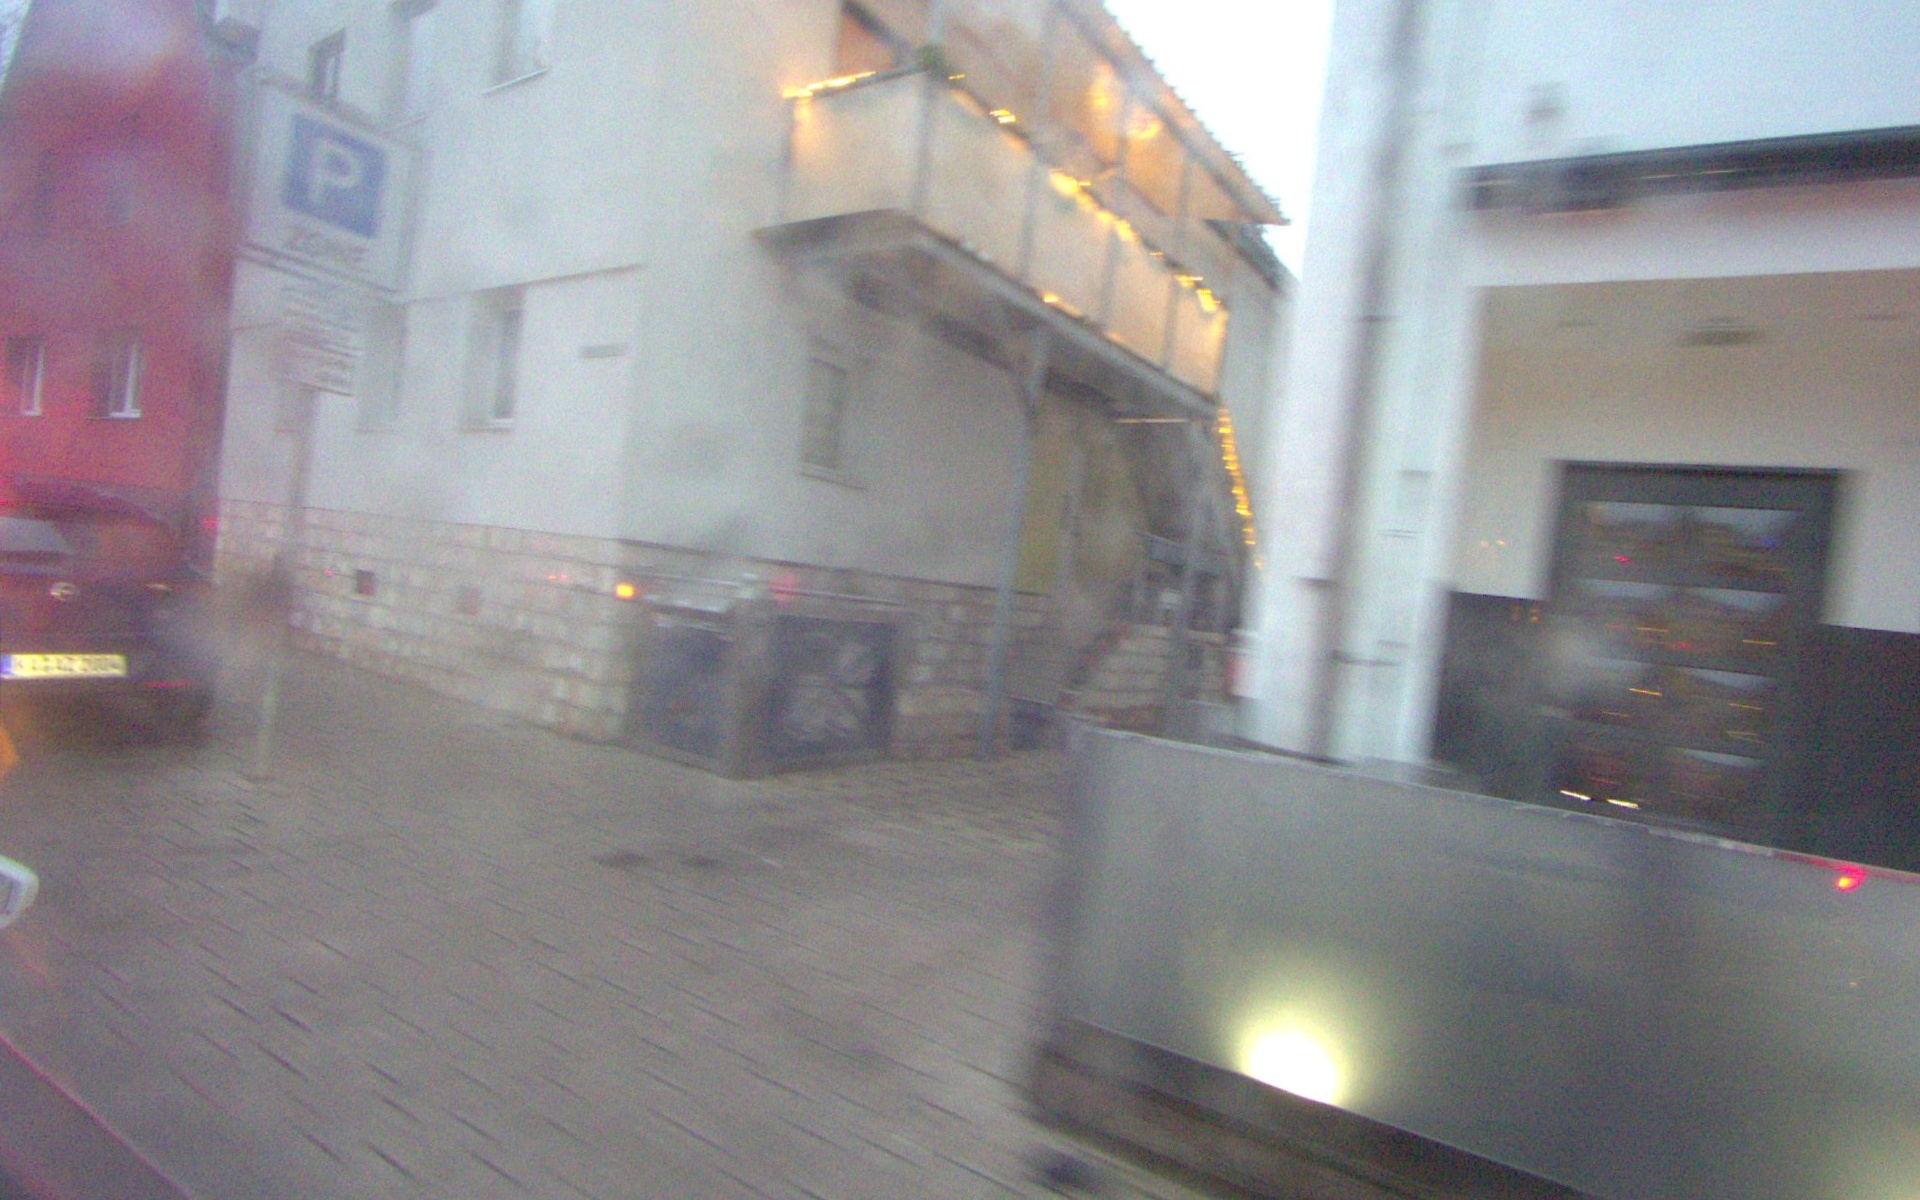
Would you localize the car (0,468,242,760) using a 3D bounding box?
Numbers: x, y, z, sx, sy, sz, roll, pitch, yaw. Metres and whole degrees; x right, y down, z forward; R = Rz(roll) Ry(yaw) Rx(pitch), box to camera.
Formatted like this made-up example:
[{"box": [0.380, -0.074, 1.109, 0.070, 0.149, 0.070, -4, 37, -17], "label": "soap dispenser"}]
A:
[{"box": [-6.556, -0.126, 6.538, 4.131, 1.484, 1.727, 8, 3, 34], "label": "car"}]

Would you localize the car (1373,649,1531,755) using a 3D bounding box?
[{"box": [9.145, 1.784, 18.516, 1.906, 1.434, 3.949, 10, 3, 34], "label": "car"}]
